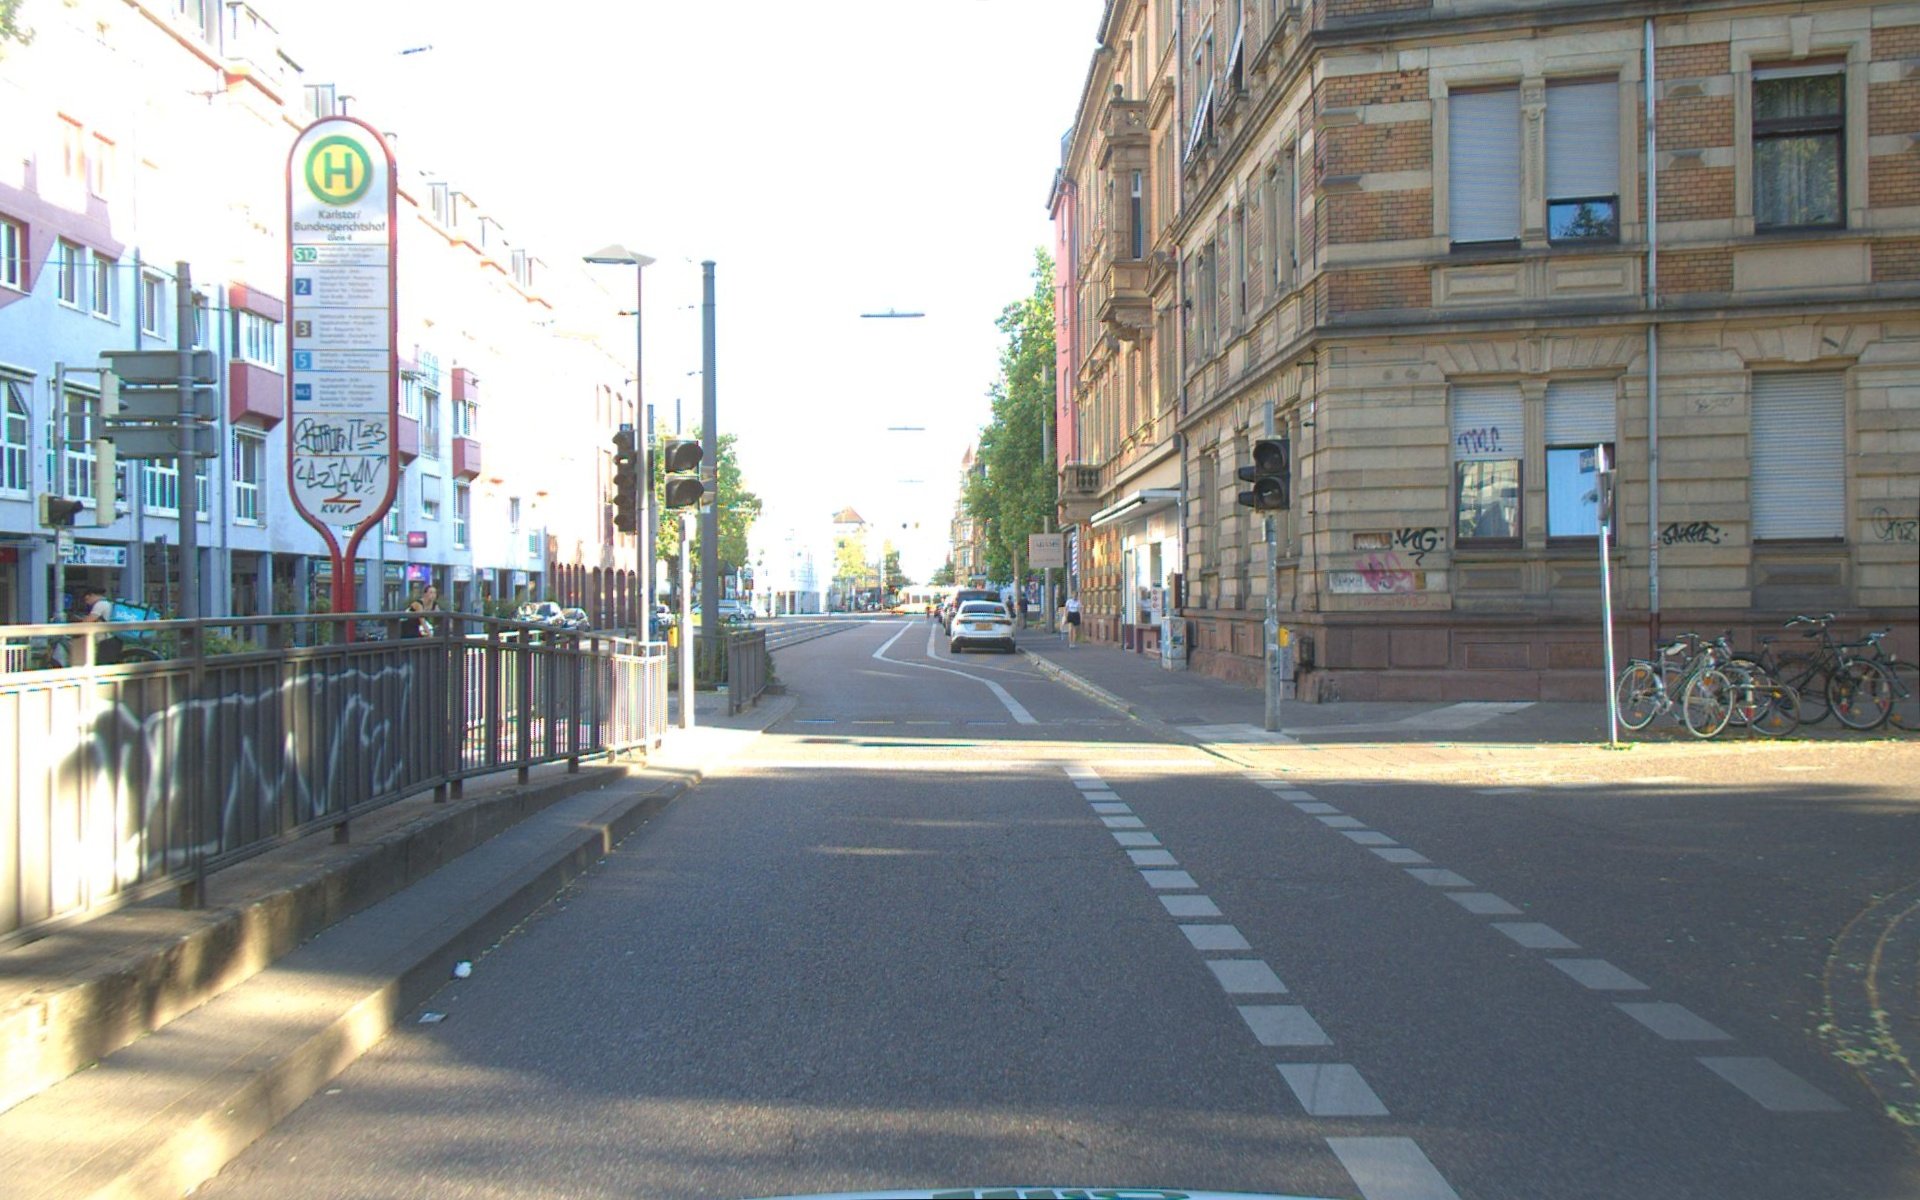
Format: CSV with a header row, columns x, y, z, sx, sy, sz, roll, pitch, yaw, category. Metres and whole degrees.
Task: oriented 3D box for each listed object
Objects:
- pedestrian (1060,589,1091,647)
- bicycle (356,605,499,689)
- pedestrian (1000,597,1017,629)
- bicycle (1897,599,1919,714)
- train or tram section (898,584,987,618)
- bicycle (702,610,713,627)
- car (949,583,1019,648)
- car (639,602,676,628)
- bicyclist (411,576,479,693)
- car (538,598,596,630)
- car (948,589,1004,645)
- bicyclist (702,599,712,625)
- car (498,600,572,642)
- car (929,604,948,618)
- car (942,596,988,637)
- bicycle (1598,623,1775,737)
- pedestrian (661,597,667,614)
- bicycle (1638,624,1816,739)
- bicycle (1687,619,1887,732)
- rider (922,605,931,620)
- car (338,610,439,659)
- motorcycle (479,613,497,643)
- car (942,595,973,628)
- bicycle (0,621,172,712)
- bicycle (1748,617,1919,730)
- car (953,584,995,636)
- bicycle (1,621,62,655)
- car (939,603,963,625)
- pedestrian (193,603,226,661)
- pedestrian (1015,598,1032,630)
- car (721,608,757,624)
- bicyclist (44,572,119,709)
x,y,z,sx,sy,sz,roll,pitch,yaw,category
3.329,0.509,47.736,0.760,1.594,0.914,-4,0,2,pedestrian
-7.473,0.648,23.220,1.853,1.096,0.584,2,-1,16,bicycle
2.458,0.668,83.946,0.760,1.594,0.913,-4,0,0,pedestrian
10.621,0.588,16.651,0.606,1.203,2.088,0,0,-27,bicycle
-2.233,0.144,216.704,11.926,4.029,2.673,2,-1,-31,train or tram section
-17.212,1.245,112.497,0.572,1.096,2.178,-2,0,-12,bicycle
0.672,0.451,48.675,1.926,1.802,4.875,1,0,0,car
-19.357,0.957,105.797,1.832,1.628,4.251,0,0,-4,car
-7.210,0.478,23.167,0.727,1.605,0.534,0,0,18,bicyclist
-18.813,0.664,79.301,1.830,1.476,3.584,1,-1,2,car
0.578,0.608,60.464,1.915,1.901,4.988,1,0,0,car
-17.205,0.800,112.430,0.561,1.742,0.743,-2,-1,-12,bicyclist
-18.412,0.926,71.827,2.048,1.743,4.817,1,-1,-2,car
-2.403,1.202,184.498,2.024,1.413,4.224,2,0,-1,car
0.207,0.752,76.563,1.910,1.819,5.179,1,-1,-2,car
7.200,0.763,16.483,0.444,1.042,1.897,0,0,-19,bicycle
-25.036,0.466,140.069,0.357,1.367,0.480,2,-1,-21,pedestrian
7.601,0.779,16.490,0.410,1.042,1.897,0,0,-19,bicycle
8.298,0.730,16.683,0.457,1.058,1.889,0,0,-28,bicycle
-3.378,1.294,168.107,0.865,1.507,0.713,1,-1,0,rider
-18.090,1.075,52.574,1.832,1.464,4.703,1,0,-4,car
-19.941,1.180,69.901,0.659,1.226,2.130,1,-1,-17,motorcycle
-0.155,0.735,106.208,1.931,2.049,4.558,-2,0,0,car
-11.281,0.854,21.371,1.859,1.096,0.583,2,-1,-10,bicycle
8.856,0.707,16.602,0.488,1.042,1.895,0,0,-21,bicycle
0.626,0.461,71.134,1.670,2.157,3.707,0,-1,2,car
-19.974,0.806,35.609,0.447,0.670,1.808,2,0,-6,bicycle
-0.717,1.037,124.912,1.688,1.595,4.081,-1,0,-2,car
-22.650,0.964,49.907,0.728,1.742,0.615,0,0,-5,pedestrian
3.231,0.697,83.986,0.760,1.594,0.913,-4,0,0,pedestrian
-23.142,1.688,173.267,3.487,1.507,1.564,2,-1,-34,car
-11.356,0.512,21.383,0.730,1.742,0.532,0,0,-13,bicyclist
